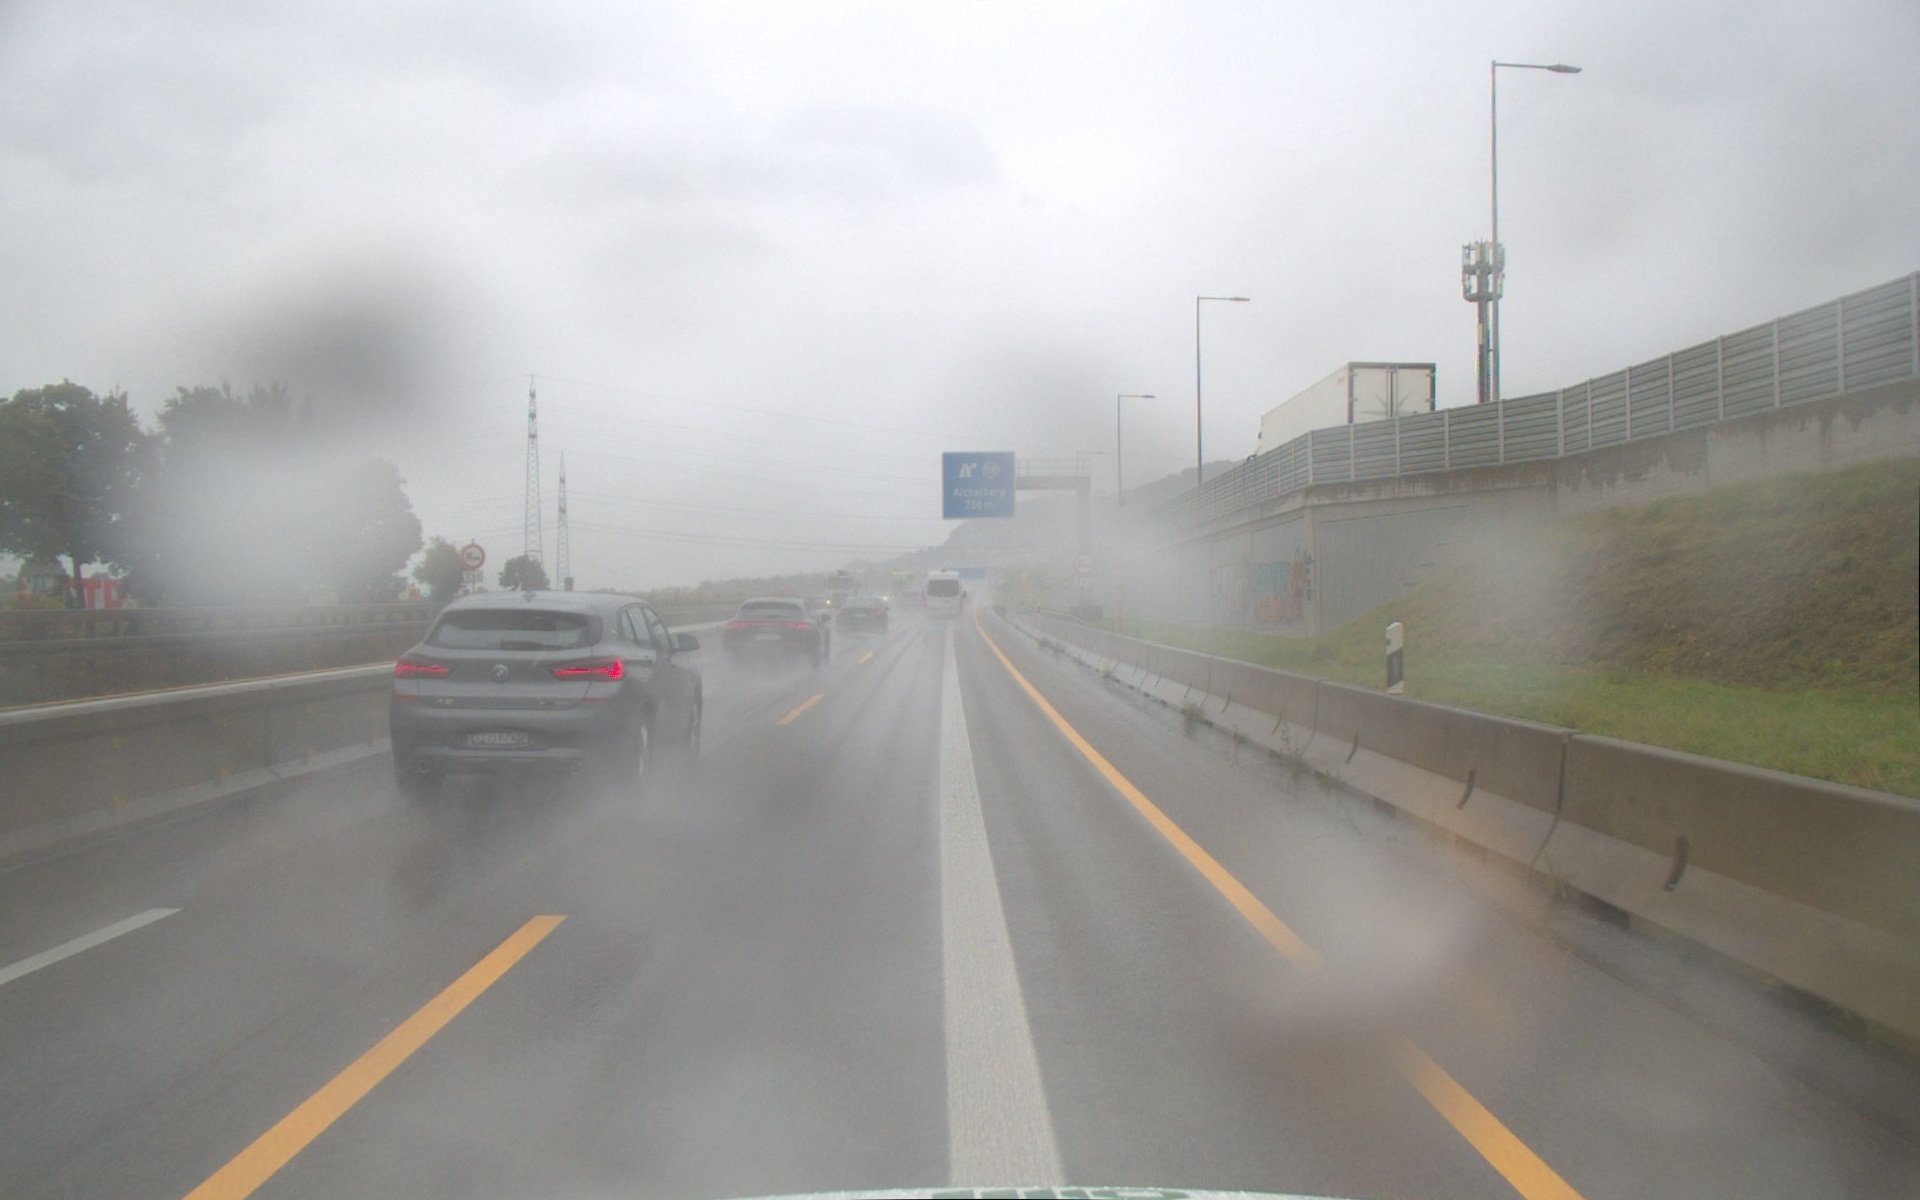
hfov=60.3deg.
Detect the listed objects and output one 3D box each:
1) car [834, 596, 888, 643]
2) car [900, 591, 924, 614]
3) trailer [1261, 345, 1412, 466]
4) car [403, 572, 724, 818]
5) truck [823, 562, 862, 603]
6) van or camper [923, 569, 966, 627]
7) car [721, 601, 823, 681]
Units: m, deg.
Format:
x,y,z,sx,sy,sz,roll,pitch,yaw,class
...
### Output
x,y,z,sx,sy,sz,roll,pitch,yaw,class
-3.516,0.658,59.041,1.808,1.517,4.259,-2,0,-3,car
-3.396,0.202,116.906,1.536,1.506,2.818,-2,-1,-5,car
12.167,-6.188,54.842,1.952,2.143,13.767,0,-1,0,trailer
-2.965,0.675,13.390,1.667,1.626,4.841,0,-1,-3,car
-10.080,-1.497,142.545,2.585,3.406,9.553,1,0,0,truck
-0.794,-0.060,82.344,1.956,2.826,4.046,0,-1,-3,van or camper
-3.774,0.823,33.769,1.807,1.517,4.258,0,-1,-3,car
